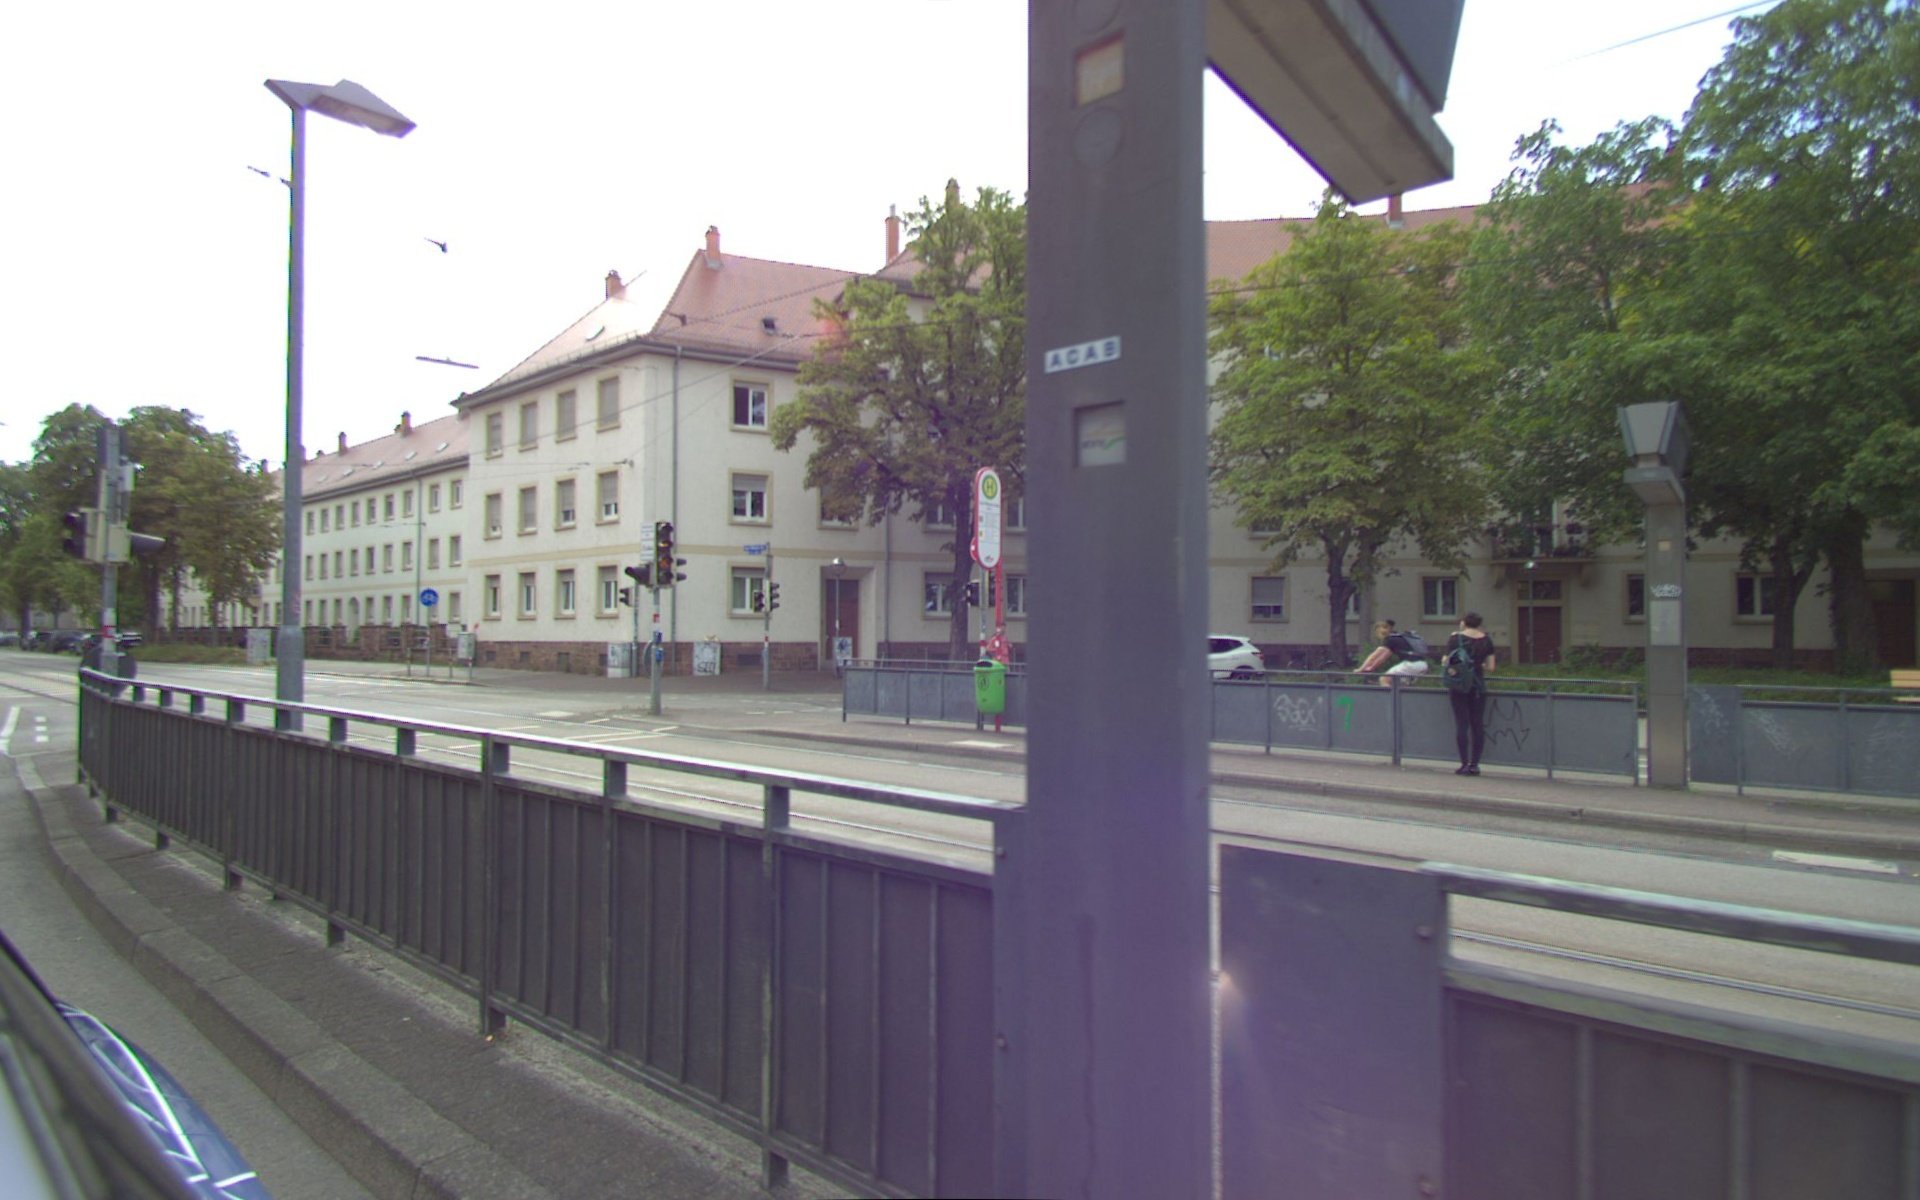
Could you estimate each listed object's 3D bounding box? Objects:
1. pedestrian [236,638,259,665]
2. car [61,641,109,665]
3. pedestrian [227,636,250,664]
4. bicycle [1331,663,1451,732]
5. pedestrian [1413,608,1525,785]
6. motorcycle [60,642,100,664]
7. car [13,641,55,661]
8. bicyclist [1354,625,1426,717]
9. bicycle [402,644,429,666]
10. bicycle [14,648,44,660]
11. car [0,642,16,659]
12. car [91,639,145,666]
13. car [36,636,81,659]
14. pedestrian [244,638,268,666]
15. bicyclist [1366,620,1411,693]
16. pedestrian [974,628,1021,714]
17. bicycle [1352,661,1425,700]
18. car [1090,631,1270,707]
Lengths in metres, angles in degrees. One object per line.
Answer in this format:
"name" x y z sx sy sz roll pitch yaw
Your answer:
"pedestrian" -39.316 2.863 55.859 0.731 1.476 0.825 -2 -3 35
"car" -55.479 3.367 64.174 4.297 1.434 1.679 -2 -2 40
"pedestrian" -40.539 2.799 56.830 0.731 1.524 0.825 -2 -3 35
"bicycle" 6.542 1.449 15.385 1.549 0.956 0.654 -2 -3 41
"pedestrian" 5.004 0.913 9.942 0.841 1.633 0.844 -2 -3 35
"motorcycle" -58.245 3.479 66.983 0.591 1.269 1.850 -2 2 36
"car" -71.215 3.929 77.827 4.294 1.482 1.680 -2 -3 38
"bicyclist" 6.542 1.068 15.405 0.835 1.350 0.654 -2 -3 41
"bicycle" -24.073 2.423 44.756 1.671 0.922 0.473 -2 -4 41
"bicycle" -74.515 4.305 81.015 0.671 0.978 1.654 -2 -3 31
"car" -85.803 4.513 90.308 4.294 1.482 1.680 -2 -2 38
"car" -49.175 3.064 59.097 4.297 1.434 1.679 -2 0 40
"car" -64.051 3.372 71.885 4.297 1.624 1.767 -2 -3 40
"pedestrian" -38.389 2.832 55.183 0.731 1.476 0.825 -2 -3 35
"bicyclist" 10.671 1.405 25.220 0.902 1.789 0.610 -1 -3 13
"pedestrian" 0.855 1.610 23.117 0.720 1.915 0.838 2 -3 -31
"bicycle" 10.658 1.990 25.195 1.561 0.944 0.606 -1 -3 13
"car" 5.635 1.758 26.148 4.092 1.734 1.845 3 -2 -9
